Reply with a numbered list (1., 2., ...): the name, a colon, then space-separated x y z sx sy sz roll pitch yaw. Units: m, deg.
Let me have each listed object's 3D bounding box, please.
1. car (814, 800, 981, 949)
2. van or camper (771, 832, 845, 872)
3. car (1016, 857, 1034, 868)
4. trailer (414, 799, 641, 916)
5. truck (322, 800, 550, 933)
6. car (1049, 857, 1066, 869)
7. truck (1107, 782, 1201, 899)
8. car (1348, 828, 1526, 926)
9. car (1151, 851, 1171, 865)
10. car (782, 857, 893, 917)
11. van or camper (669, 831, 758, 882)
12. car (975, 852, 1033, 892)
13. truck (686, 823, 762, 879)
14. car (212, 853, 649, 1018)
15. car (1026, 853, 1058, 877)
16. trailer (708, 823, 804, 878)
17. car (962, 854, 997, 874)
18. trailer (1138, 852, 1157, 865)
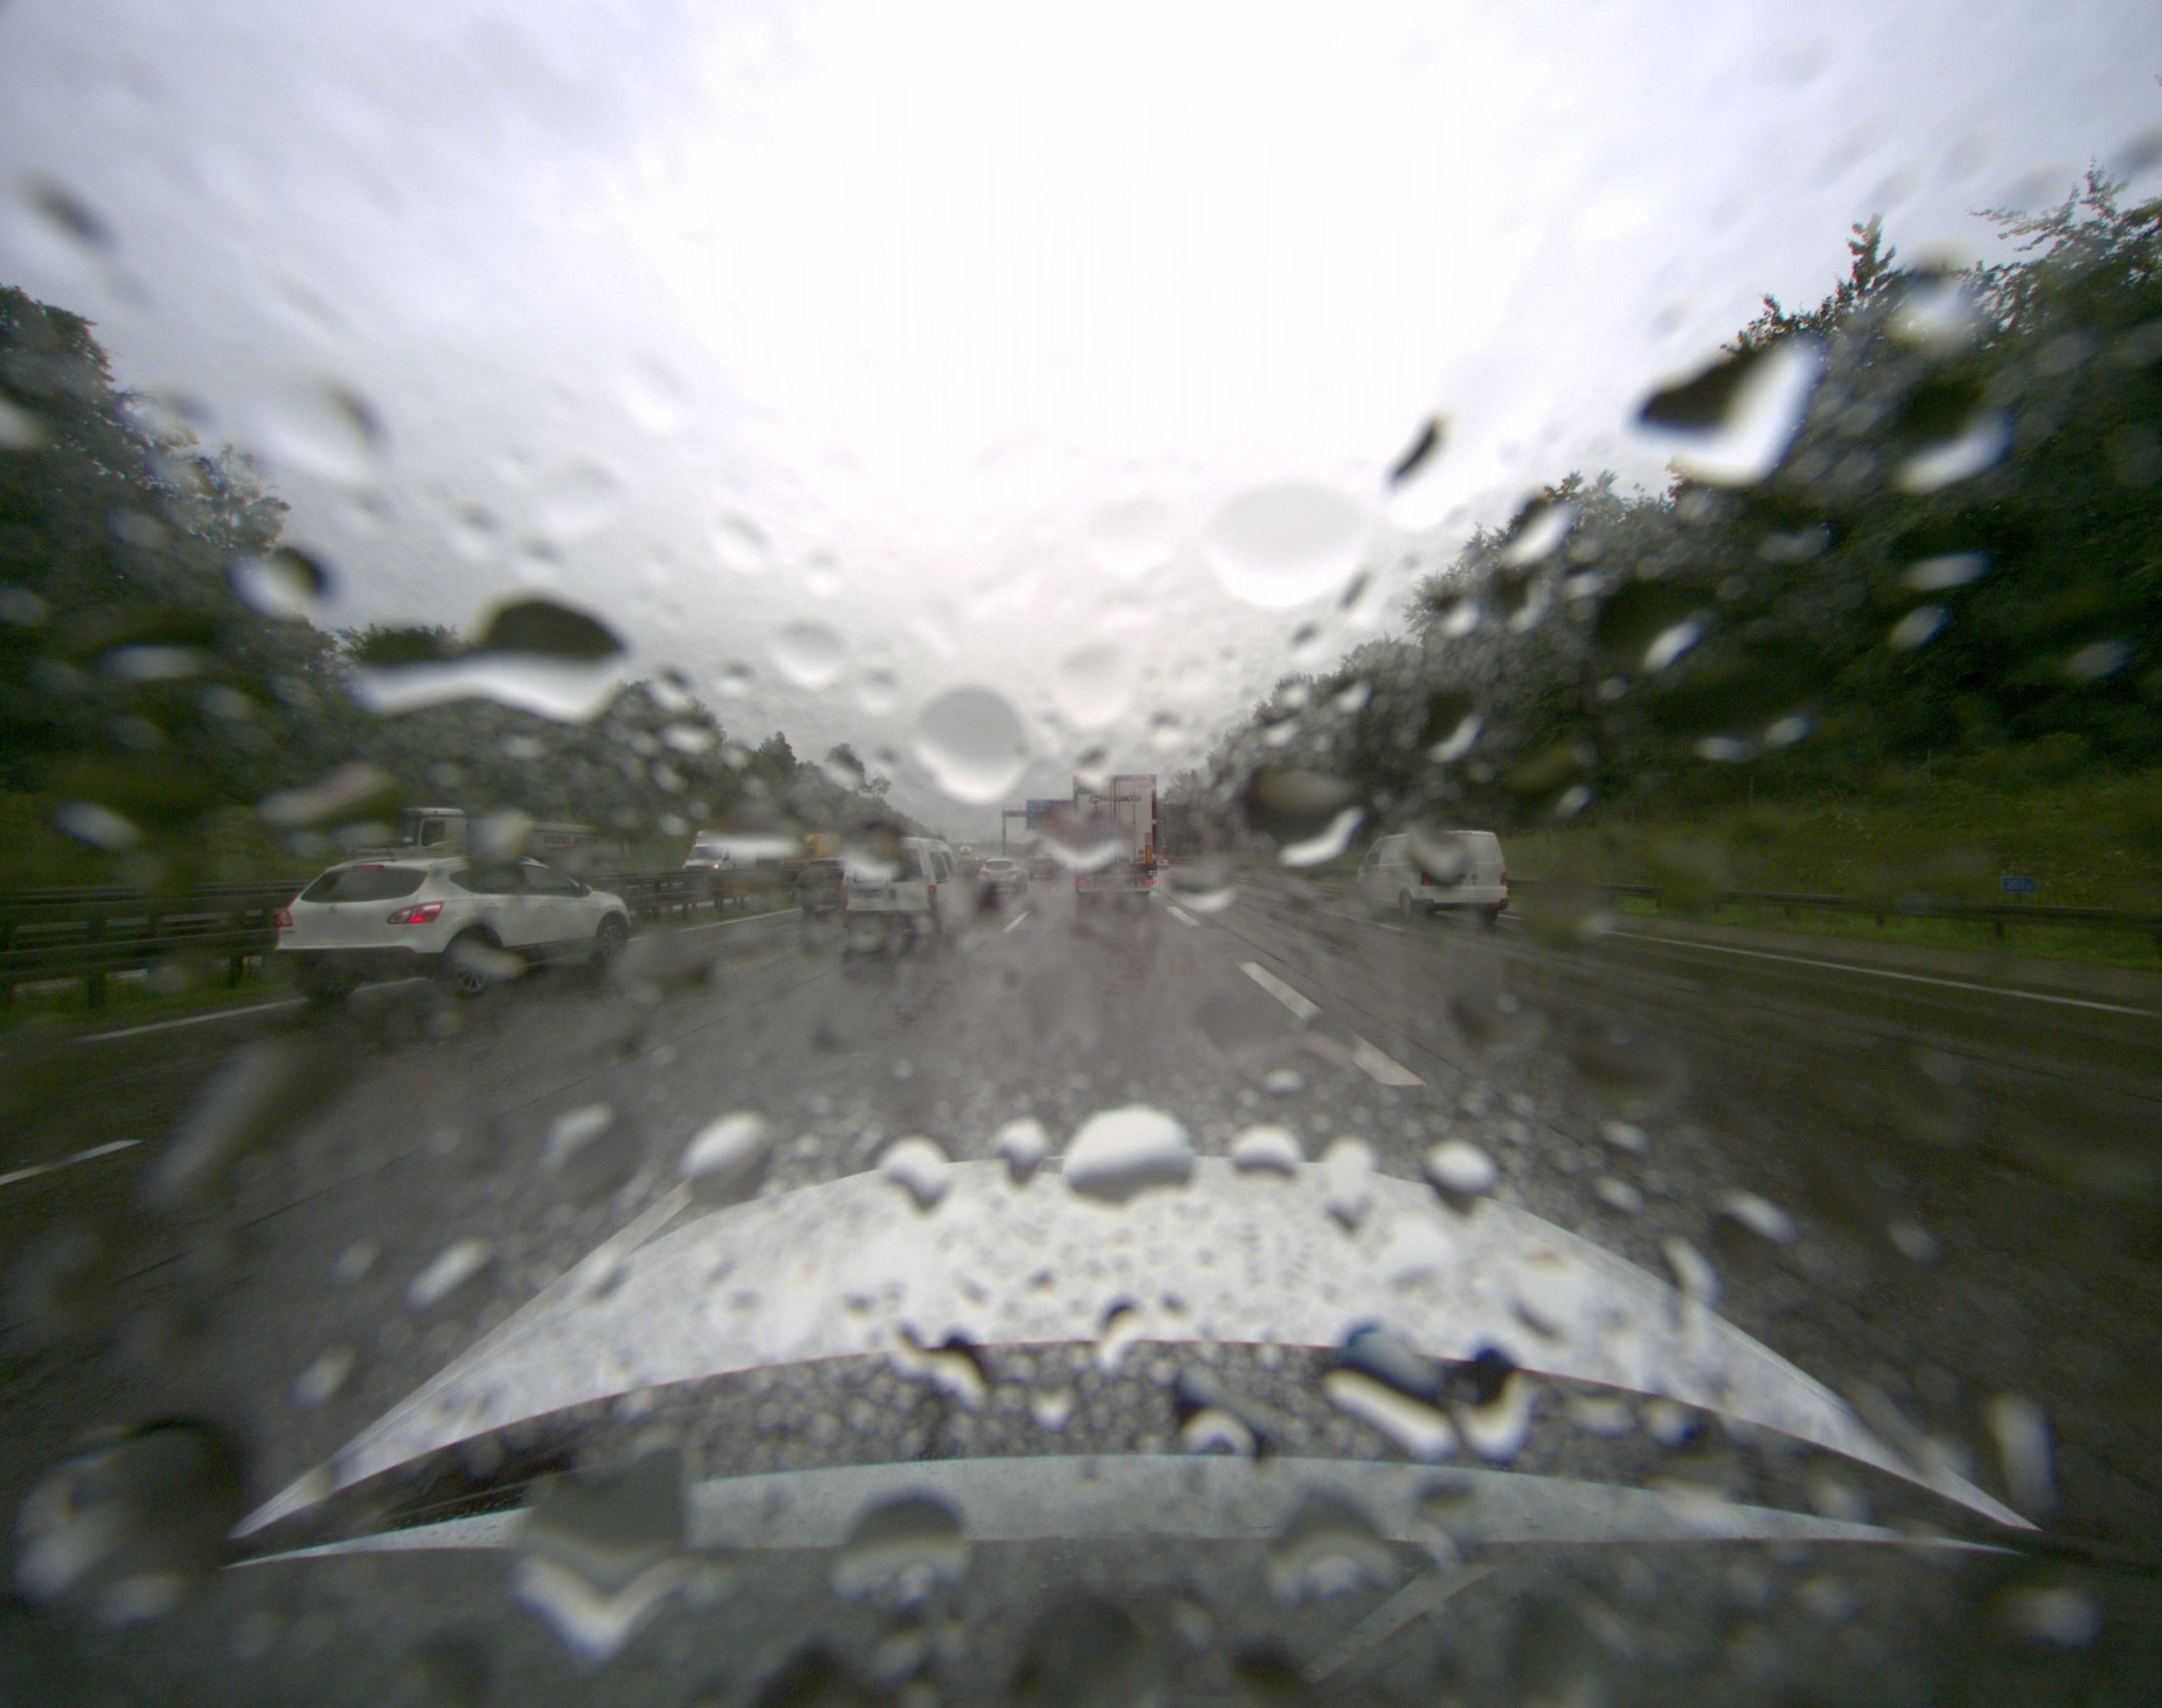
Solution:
1. car: -3.494 0.334 16.665 2.205 2.573 5.016 -1 0 1
2. van or camper: -21.796 -0.163 65.643 2.832 2.978 8.788 -1 0 1
3. car: -6.732 1.025 98.630 1.839 1.330 4.467 -1 0 1
4. trailer: -21.538 0.120 32.669 2.368 3.954 9.425 -2 0 2
5. truck: -21.664 0.378 27.917 2.368 3.954 6.539 -2 0 2
6. car: -2.803 1.015 96.734 1.839 1.330 4.467 -1 0 1
7. truck: 2.570 -0.376 30.575 2.860 3.562 11.312 -1 0 3
8. car: 7.886 0.443 18.637 1.984 1.921 4.766 -1 0 -1
9. car: 8.791 0.434 89.407 1.785 1.407 4.227 -1 0 0
10. car: -7.171 0.910 24.464 1.838 1.591 4.468 -1 0 2
11. van or camper: -20.064 0.093 44.866 2.192 2.547 6.116 -2 0 -1
12. car: -3.257 0.749 35.272 1.837 1.591 4.077 -1 0 4
13. truck: -25.669 -0.215 58.923 2.695 3.818 6.264 -1 0 0
14. car: -7.625 0.800 10.290 1.839 1.591 4.467 -1 0 1
15. car: -2.692 0.757 56.944 1.838 1.591 4.469 -1 0 2
16. trailer: -25.651 -0.244 65.213 2.610 4.025 12.373 0 0 0
17. car: -7.115 0.669 57.685 1.839 1.330 4.467 -1 0 1
18. trailer: 8.918 0.551 109.890 2.235 1.714 5.084 -1 0 2
